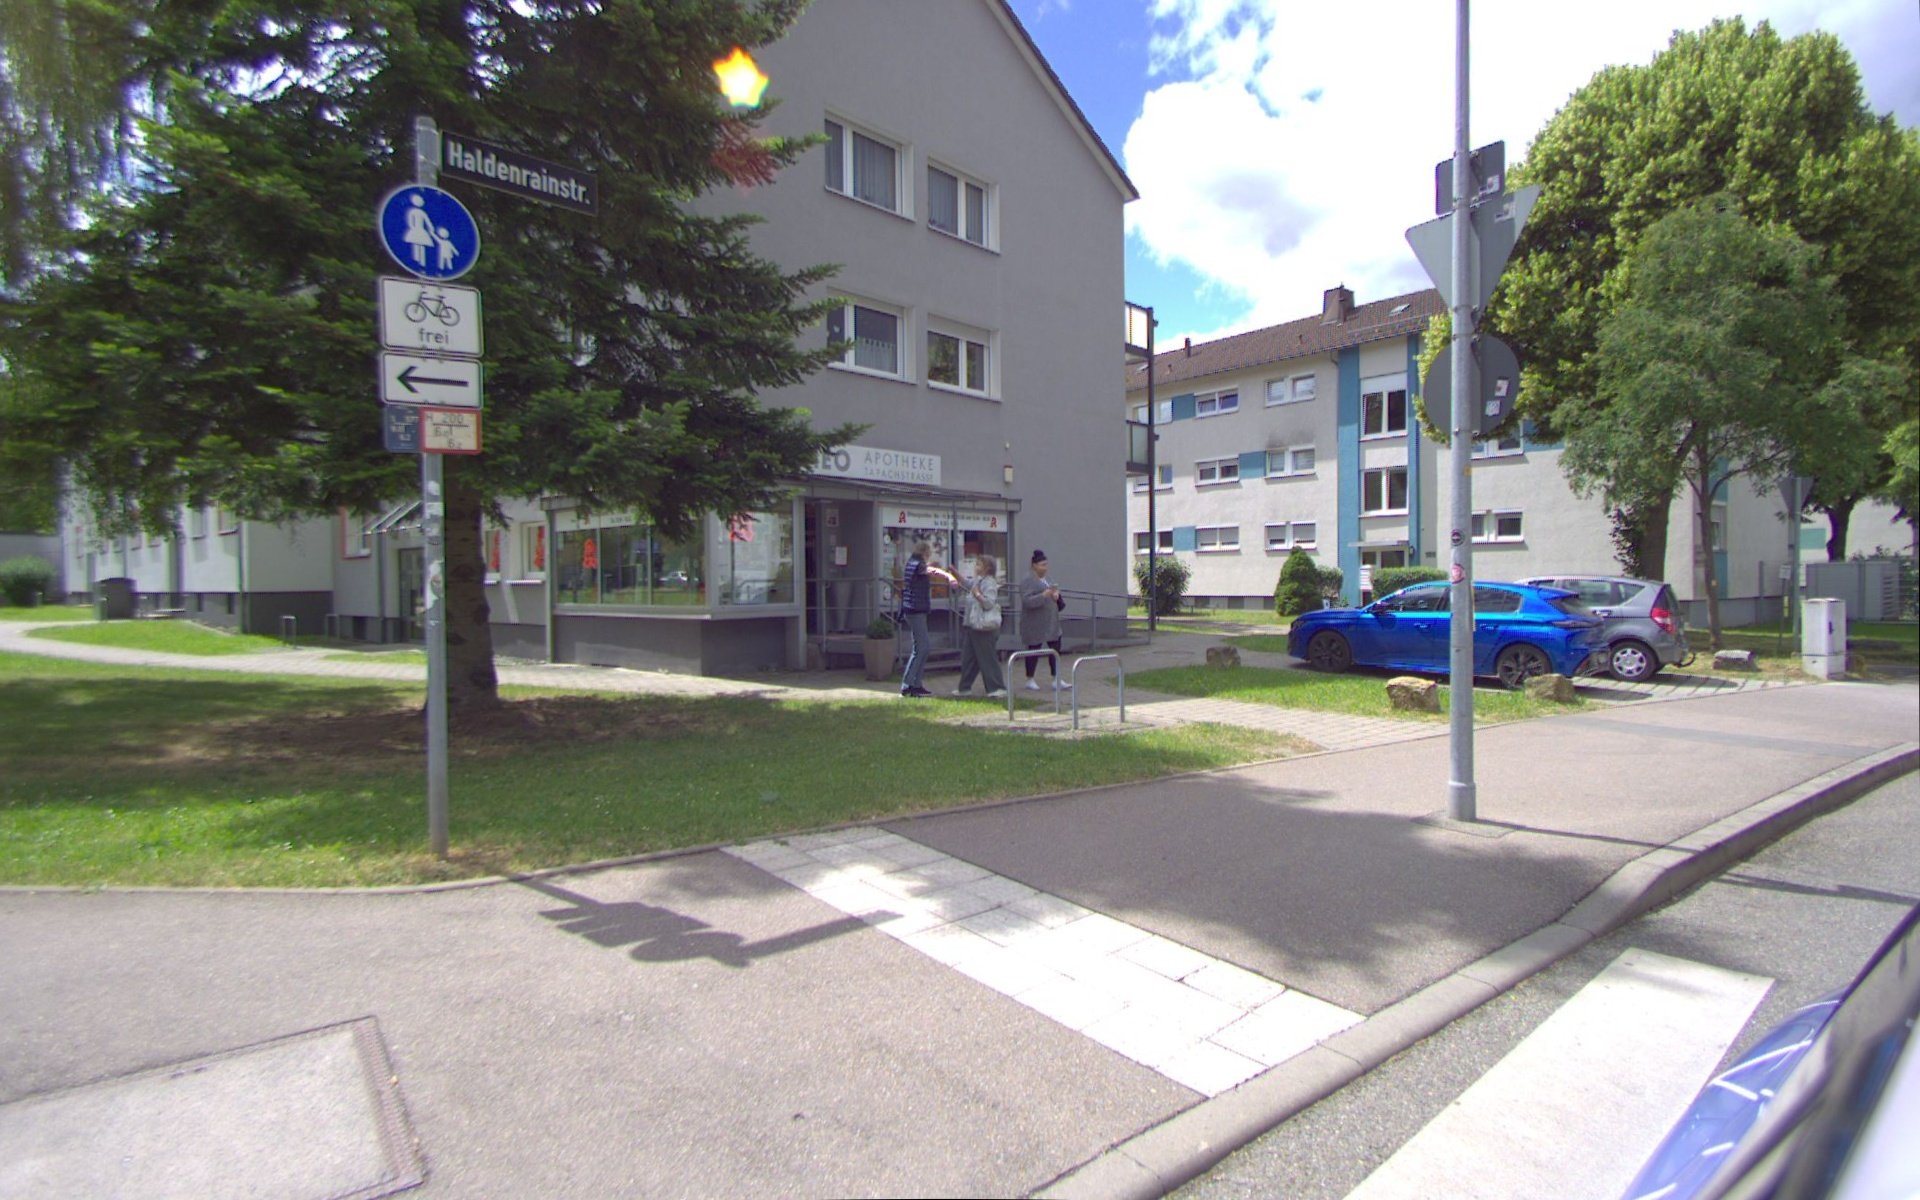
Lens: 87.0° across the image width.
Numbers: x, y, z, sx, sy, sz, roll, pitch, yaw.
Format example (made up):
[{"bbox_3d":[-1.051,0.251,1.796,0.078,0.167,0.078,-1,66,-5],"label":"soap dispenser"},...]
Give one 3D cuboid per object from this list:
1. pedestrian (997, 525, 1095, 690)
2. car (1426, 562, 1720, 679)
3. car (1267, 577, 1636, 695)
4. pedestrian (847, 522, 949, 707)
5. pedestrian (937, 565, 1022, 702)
[{"bbox_3d":[1.076,0.074,12.764,0.923,1.980,0.844,0,1,-26],"label":"pedestrian"},{"bbox_3d":[9.951,0.229,16.575,3.731,1.575,2.000,4,4,44],"label":"car"},{"bbox_3d":[7.090,0.406,14.902,4.483,1.258,1.970,5,4,43],"label":"car"},{"bbox_3d":[-0.715,0.147,11.747,0.653,2.038,1.031,1,2,43],"label":"pedestrian"},{"bbox_3d":[0.232,0.359,11.939,0.680,1.548,0.742,-1,2,-43],"label":"pedestrian"}]
